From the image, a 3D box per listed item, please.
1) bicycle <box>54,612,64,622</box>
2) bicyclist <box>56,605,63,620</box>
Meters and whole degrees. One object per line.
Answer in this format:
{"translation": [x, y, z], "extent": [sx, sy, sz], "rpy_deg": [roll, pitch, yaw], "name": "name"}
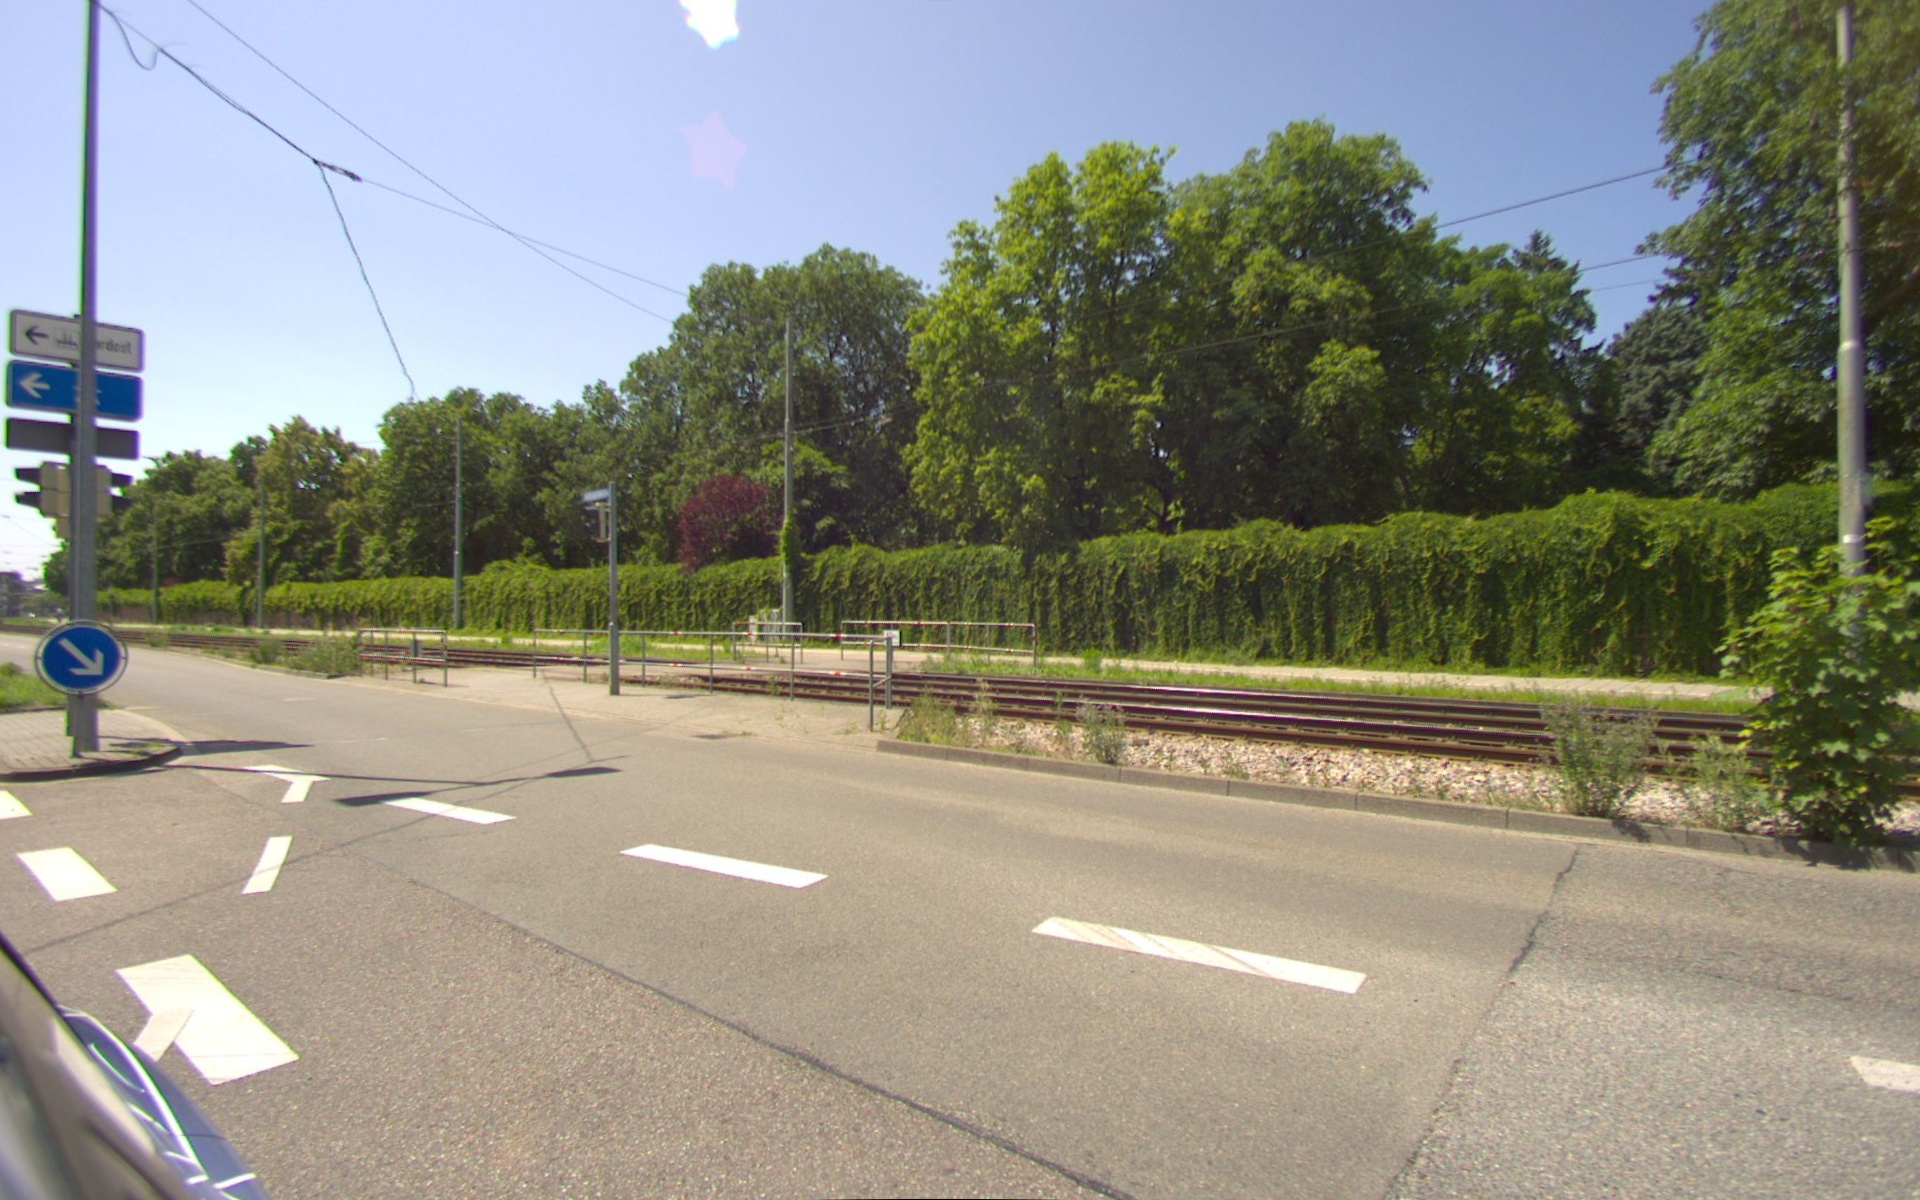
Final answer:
{"translation": [-97.942, 1.852, 110.064], "extent": [1.978, 1.063, 0.609], "rpy_deg": [0, 1, 43], "name": "bicycle"}
{"translation": [-97.917, 1.330, 110.045], "extent": [0.769, 1.624, 0.477], "rpy_deg": [0, 1, 43], "name": "bicyclist"}
